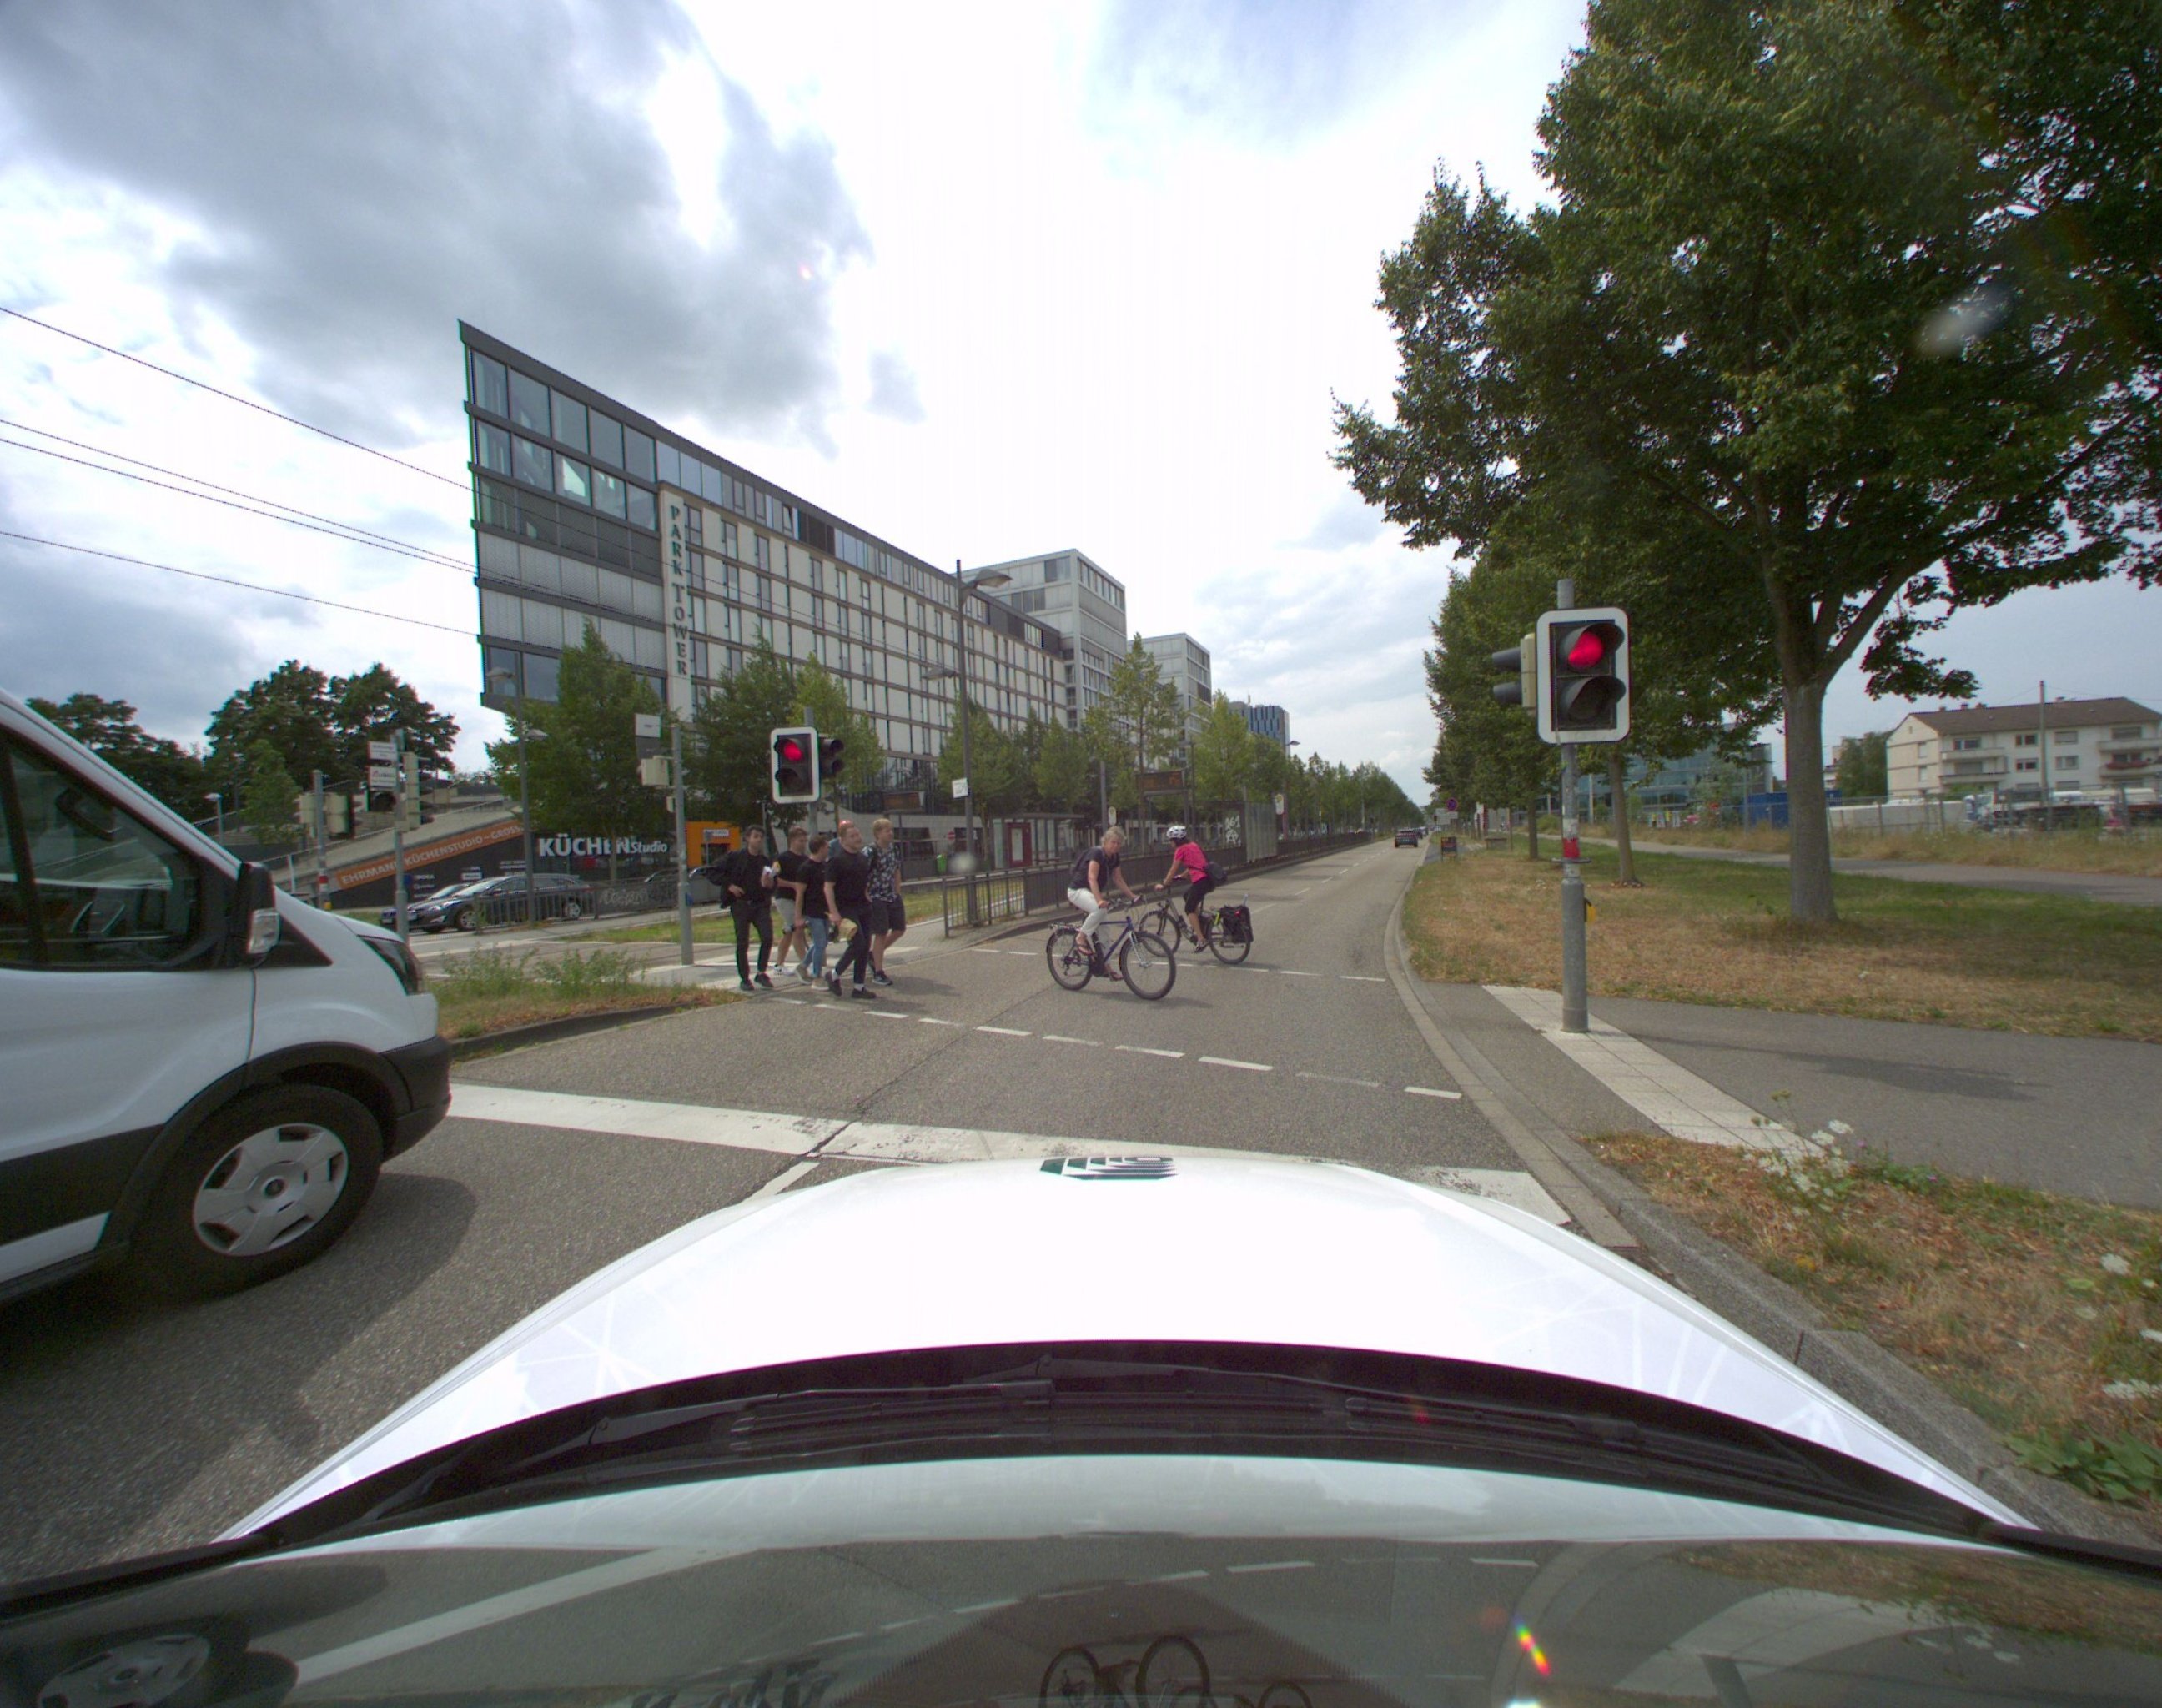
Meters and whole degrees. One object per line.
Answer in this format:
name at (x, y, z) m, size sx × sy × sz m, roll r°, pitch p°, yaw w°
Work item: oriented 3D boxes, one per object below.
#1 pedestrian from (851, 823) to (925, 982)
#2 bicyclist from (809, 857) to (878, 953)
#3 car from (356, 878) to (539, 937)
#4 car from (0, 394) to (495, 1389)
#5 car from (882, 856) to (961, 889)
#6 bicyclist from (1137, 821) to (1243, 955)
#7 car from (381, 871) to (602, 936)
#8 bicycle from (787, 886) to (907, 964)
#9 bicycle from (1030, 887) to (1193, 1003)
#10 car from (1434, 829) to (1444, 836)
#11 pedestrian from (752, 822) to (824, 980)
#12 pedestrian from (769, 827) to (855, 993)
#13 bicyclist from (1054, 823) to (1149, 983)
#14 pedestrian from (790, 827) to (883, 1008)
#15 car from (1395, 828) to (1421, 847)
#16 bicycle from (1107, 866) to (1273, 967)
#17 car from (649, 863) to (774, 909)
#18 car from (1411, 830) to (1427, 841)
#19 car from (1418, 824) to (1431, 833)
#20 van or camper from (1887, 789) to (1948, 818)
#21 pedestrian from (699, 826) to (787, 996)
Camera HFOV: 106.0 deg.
pedestrian at (-2.235, 0.543, 9.472) m, size 0.547 × 1.781 × 0.583 m, roll -2°, pitch 0°, yaw 18°
bicyclist at (-3.433, 0.717, 11.785) m, size 0.666 × 1.317 × 0.644 m, roll -2°, pitch 0°, yaw 34°
car at (-19.468, 1.589, 25.221) m, size 1.826 × 1.458 × 4.023 m, roll -2°, pitch 1°, yaw 25°
car at (-4.061, 0.139, 1.080) m, size 2.117 × 2.697 × 5.637 m, roll -3°, pitch 1°, yaw 3°
car at (-7.973, 0.919, 41.037) m, size 1.826 × 1.458 × 4.024 m, roll -2°, pitch 1°, yaw 26°
bicyclist at (1.420, 0.419, 10.627) m, size 1.036 × 1.627 × 0.796 m, roll -2°, pitch 1°, yaw 43°
car at (-16.567, 1.329, 23.225) m, size 1.826 × 1.458 × 4.766 m, roll -2°, pitch 1°, yaw 25°
bicycle at (-3.396, 0.992, 11.762) m, size 1.733 × 1.007 × 0.658 m, roll -2°, pitch 0°, yaw 33°
bicycle at (0.281, 0.891, 8.484) m, size 1.691 × 1.058 × 0.552 m, roll -2°, pitch 0°, yaw 41°
car at (90.869, -5.539, 206.529) m, size 1.975 × 1.618 × 4.781 m, roll -2°, pitch 1°, yaw 27°
pedestrian at (-3.574, 0.557, 9.948) m, size 0.547 × 1.862 × 0.534 m, roll -2°, pitch 0°, yaw 18°
pedestrian at (-3.019, 0.604, 9.179) m, size 0.547 × 1.781 × 0.693 m, roll -2°, pitch 0°, yaw 18°
bicyclist at (0.216, 0.483, 8.523) m, size 0.756 × 1.580 × 0.564 m, roll -2°, pitch 0°, yaw 41°
pedestrian at (-2.505, 0.624, 8.392) m, size 0.547 × 1.781 × 0.693 m, roll -2°, pitch 0°, yaw 18°
car at (28.584, -1.467, 71.170) m, size 2.039 × 1.551 × 4.500 m, roll -2°, pitch 1°, yaw 23°
bicycle at (1.387, 0.773, 10.674) m, size 2.015 × 1.168 × 0.796 m, roll -2°, pitch 1°, yaw 42°
car at (-13.854, 1.162, 30.770) m, size 1.826 × 1.458 × 4.024 m, roll -2°, pitch 1°, yaw 26°
car at (46.759, -2.581, 112.625) m, size 1.720 × 1.519 × 4.171 m, roll -2°, pitch 1°, yaw 25°
car at (57.332, -4.260, 135.801) m, size 1.809 × 1.462 × 4.283 m, roll -2°, pitch 1°, yaw 21°
van or camper at (87.333, -5.223, 85.121) m, size 2.325 × 2.688 × 5.272 m, roll -2°, pitch 1°, yaw 19°
pedestrian at (-3.690, 0.604, 8.925) m, size 0.547 × 1.781 × 0.636 m, roll -2°, pitch 0°, yaw 18°
